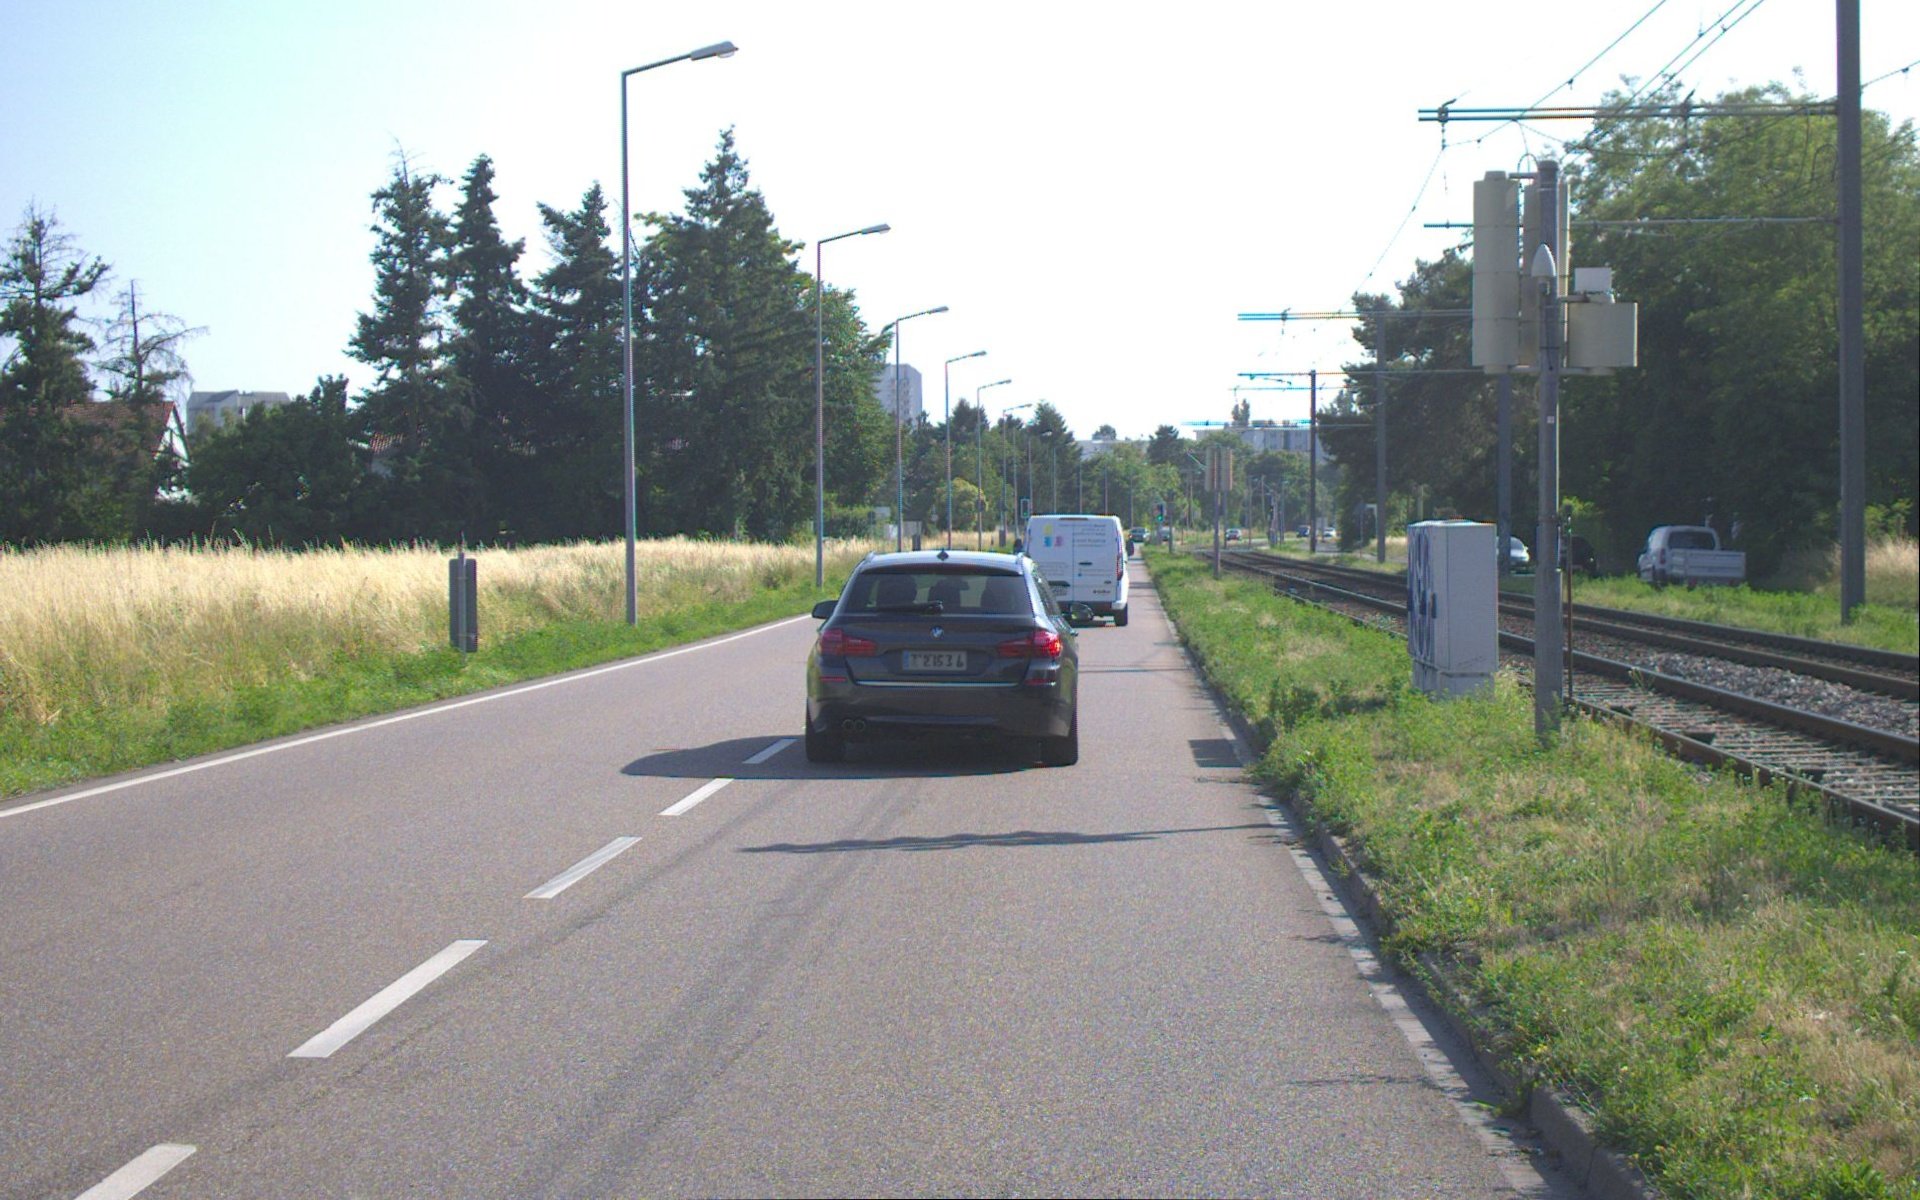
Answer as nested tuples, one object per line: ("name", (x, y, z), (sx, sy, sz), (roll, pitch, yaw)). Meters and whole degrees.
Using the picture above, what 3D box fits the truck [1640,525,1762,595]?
("truck", (19.835, -1.088, 92.225), (2.204, 1.813, 5.929), (0, 1, 2))

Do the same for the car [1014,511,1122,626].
("car", (1.953, -0.614, 62.856), (1.857, 1.981, 5.108), (1, 1, 1))

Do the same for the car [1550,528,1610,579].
("car", (21.667, -1.628, 120.283), (1.735, 1.674, 3.543), (1, 0, 5))

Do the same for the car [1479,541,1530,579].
("car", (21.890, -1.600, 138.282), (1.621, 1.394, 3.489), (1, 0, 3))

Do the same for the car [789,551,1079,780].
("car", (-0.092, 0.390, 24.772), (1.869, 1.447, 4.743), (1, 1, 2))
